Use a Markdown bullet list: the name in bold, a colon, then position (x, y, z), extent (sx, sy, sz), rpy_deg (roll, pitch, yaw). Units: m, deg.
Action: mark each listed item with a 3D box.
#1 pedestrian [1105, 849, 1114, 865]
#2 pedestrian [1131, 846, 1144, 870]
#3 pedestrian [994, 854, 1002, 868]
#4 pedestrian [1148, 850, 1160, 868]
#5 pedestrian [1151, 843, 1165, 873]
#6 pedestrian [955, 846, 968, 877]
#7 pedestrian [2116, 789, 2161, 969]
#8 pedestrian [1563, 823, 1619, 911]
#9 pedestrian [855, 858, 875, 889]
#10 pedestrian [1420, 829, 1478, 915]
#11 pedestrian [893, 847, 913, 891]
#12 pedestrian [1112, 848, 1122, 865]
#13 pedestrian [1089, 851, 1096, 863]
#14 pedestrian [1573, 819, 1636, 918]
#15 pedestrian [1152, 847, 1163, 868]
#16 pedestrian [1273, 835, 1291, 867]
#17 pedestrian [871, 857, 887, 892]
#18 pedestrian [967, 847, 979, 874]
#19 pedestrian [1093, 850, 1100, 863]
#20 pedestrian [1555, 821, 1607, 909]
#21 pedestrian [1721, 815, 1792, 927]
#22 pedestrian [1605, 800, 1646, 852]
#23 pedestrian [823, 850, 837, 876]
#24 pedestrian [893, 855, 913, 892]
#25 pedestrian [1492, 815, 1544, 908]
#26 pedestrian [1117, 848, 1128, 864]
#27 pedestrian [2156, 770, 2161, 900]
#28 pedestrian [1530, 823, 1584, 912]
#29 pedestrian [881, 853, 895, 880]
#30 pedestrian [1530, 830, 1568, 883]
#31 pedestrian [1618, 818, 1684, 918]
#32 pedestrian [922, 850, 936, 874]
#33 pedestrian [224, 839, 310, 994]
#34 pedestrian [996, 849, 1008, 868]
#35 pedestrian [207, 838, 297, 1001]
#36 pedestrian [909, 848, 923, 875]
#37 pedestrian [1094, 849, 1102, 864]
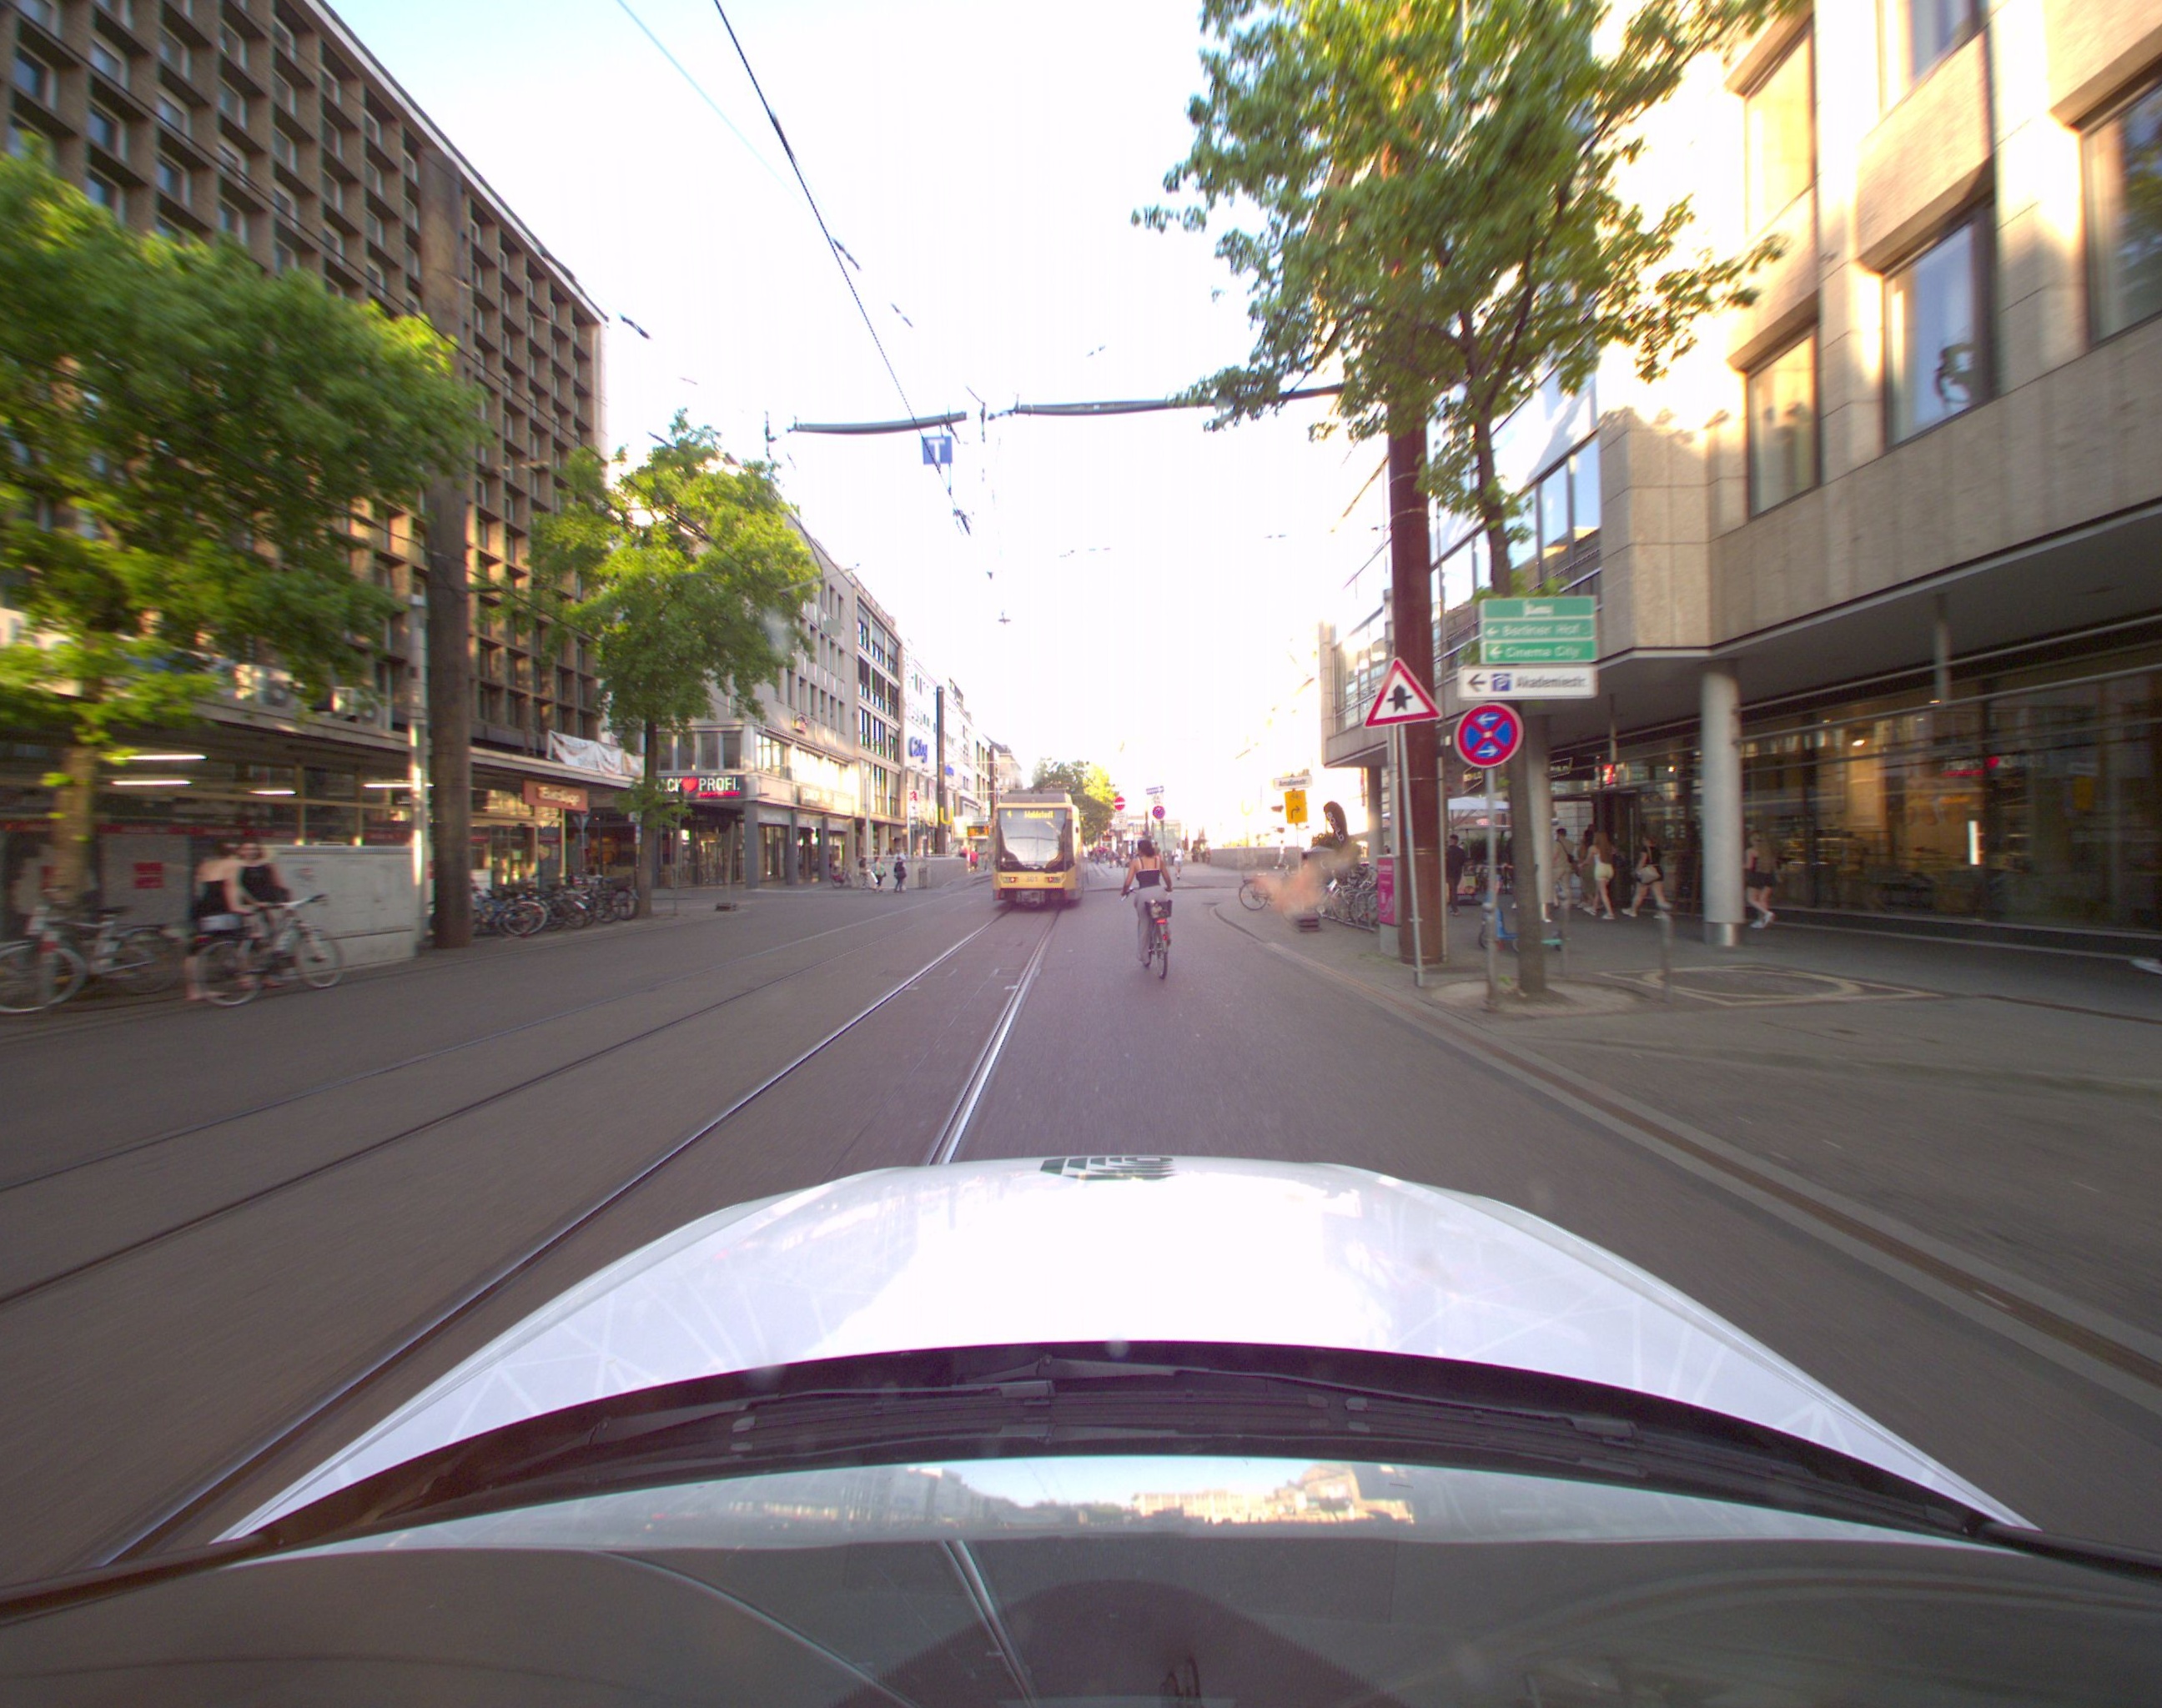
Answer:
- **pedestrian**: position (2.994, 0.269, 86.247), extent (0.787, 1.661, 0.772), rpy_deg (-1, 0, 12)
- **pedestrian**: position (4.357, 0.279, 62.950), extent (0.734, 1.823, 0.816), rpy_deg (-1, 0, -14)
- **pedestrian**: position (-8.068, 0.707, 78.979), extent (0.705, 1.379, 0.720), rpy_deg (-1, -1, -1)
- **pedestrian**: position (7.031, 0.484, 78.075), extent (0.773, 1.661, 0.785), rpy_deg (-1, 0, -41)
- **pedestrian**: position (4.567, 0.240, 48.328), extent (0.715, 1.725, 0.709), rpy_deg (-1, -1, 0)
- **pedestrian**: position (-7.406, 0.459, 50.599), extent (0.712, 1.925, 0.708), rpy_deg (-1, -1, -5)
- **pedestrian**: position (10.673, 0.235, 7.842), extent (0.568, 1.731, 0.617), rpy_deg (-2, 0, -1)
- **pedestrian**: position (10.638, 0.269, 17.014), extent (0.660, 1.787, 0.719), rpy_deg (-2, -1, 1)
- **pedestrian**: position (-10.040, 0.917, 37.807), extent (0.548, 1.434, 0.689), rpy_deg (-2, -1, 38)
- **pedestrian**: position (7.696, 0.365, 17.080), extent (0.760, 1.719, 0.924), rpy_deg (-2, -1, 2)
- **pedestrian**: position (-8.014, 0.676, 36.731), extent (0.772, 1.926, 0.707), rpy_deg (-1, -1, -8)
- **pedestrian**: position (3.587, 0.244, 81.456), extent (0.787, 1.661, 0.772), rpy_deg (-1, 0, 12)
- **pedestrian**: position (1.579, 0.381, 109.489), extent (0.762, 1.661, 0.797), rpy_deg (-1, 0, 9)
- **pedestrian**: position (9.824, 0.267, 15.314), extent (0.660, 1.787, 0.719), rpy_deg (-2, -1, 1)
- **pedestrian**: position (6.550, 0.296, 69.520), extent (0.771, 1.823, 0.939), rpy_deg (-2, 0, -3)
- **pedestrian**: position (12.515, -0.179, 50.796), extent (0.911, 2.014, 0.773), rpy_deg (0, -1, 1)
- **pedestrian**: position (-8.648, 0.883, 34.878), extent (0.603, 1.494, 0.554), rpy_deg (-1, -1, -8)
- **pedestrian**: position (-7.112, 0.430, 53.769), extent (0.712, 1.698, 0.784), rpy_deg (-1, -1, -6)
- **pedestrian**: position (2.010, 0.356, 103.856), extent (0.787, 1.661, 0.772), rpy_deg (-1, 0, 12)
- **pedestrian**: position (10.898, 0.234, 17.768), extent (0.659, 1.848, 0.720), rpy_deg (-2, -1, 6)
- **pedestrian**: position (10.751, 0.262, 12.974), extent (0.568, 1.731, 0.617), rpy_deg (-2, 0, -1)
- **pedestrian**: position (19.599, -1.022, 29.345), extent (0.863, 1.839, 0.873), rpy_deg (-1, 2, -5)
- **pedestrian**: position (-16.939, 0.640, 54.875), extent (0.711, 1.725, 0.709), rpy_deg (-1, -1, -1)
- **pedestrian**: position (-7.553, 0.818, 34.577), extent (0.682, 1.542, 0.605), rpy_deg (-1, -1, -1)
- **pedestrian**: position (9.696, 0.163, 18.095), extent (0.684, 2.013, 0.783), rpy_deg (-2, 0, 1)
- **pedestrian**: position (3.969, 0.201, 78.193), extent (0.759, 1.579, 0.800), rpy_deg (-1, 0, 30)
- **pedestrian**: position (9.175, 0.224, 6.232), extent (0.666, 1.839, 0.880), rpy_deg (-2, 0, 0)
- **pedestrian**: position (9.938, 0.274, 17.016), extent (0.660, 1.787, 0.719), rpy_deg (-2, -1, 1)
- **pedestrian**: position (-12.432, 0.814, 52.532), extent (0.711, 1.725, 0.709), rpy_deg (-1, -1, -1)
- **pedestrian**: position (16.437, 0.073, 28.623), extent (0.801, 1.839, 0.874), rpy_deg (0, 0, 0)
- **pedestrian**: position (10.573, 0.261, 15.135), extent (0.660, 1.787, 0.719), rpy_deg (-2, -1, 1)
- **pedestrian**: position (-10.017, 0.538, 53.731), extent (0.631, 1.588, 0.598), rpy_deg (0, -1, -42)
- **pedestrian**: position (-9.285, 0.686, 9.294), extent (0.595, 1.699, 0.539), rpy_deg (0, 0, 29)
- **pedestrian**: position (-6.975, 0.398, 71.918), extent (0.712, 1.725, 0.768), rpy_deg (-1, -1, -30)
- **pedestrian**: position (-8.996, 0.681, 8.841), extent (0.595, 1.699, 0.539), rpy_deg (0, 0, 29)
- **pedestrian**: position (-10.793, 0.485, 53.276), extent (0.632, 1.725, 0.598), rpy_deg (0, -1, -43)
- **pedestrian**: position (1.894, 0.287, 90.133), extent (0.761, 1.661, 0.797), rpy_deg (-1, 0, 12)
